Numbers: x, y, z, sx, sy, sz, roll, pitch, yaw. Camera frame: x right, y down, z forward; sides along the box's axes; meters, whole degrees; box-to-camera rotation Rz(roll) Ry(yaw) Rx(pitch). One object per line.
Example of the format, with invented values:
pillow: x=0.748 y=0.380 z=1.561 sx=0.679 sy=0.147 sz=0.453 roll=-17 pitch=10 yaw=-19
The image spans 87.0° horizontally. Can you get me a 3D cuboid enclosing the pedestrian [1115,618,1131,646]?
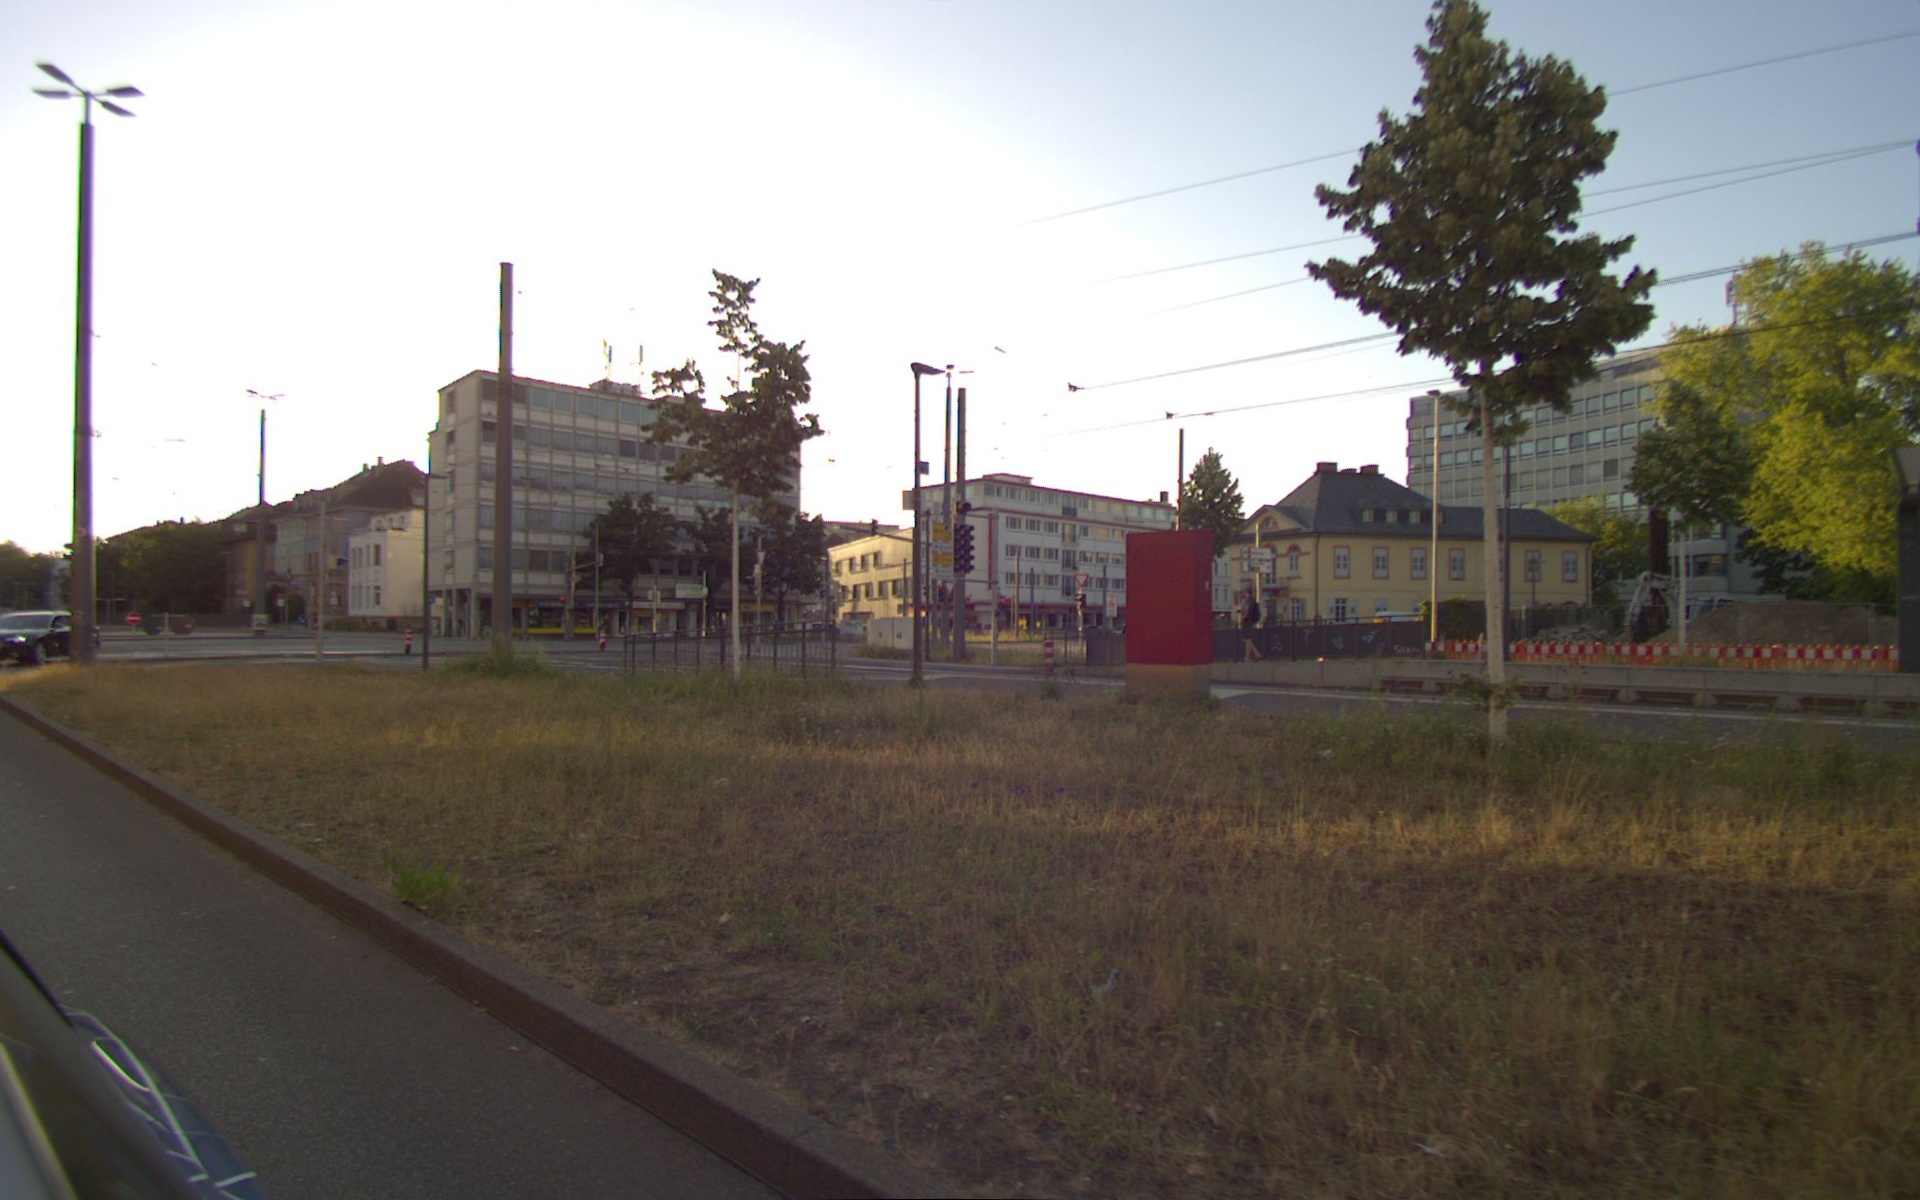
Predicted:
pedestrian: x=9.048 y=1.792 z=56.180 sx=0.645 sy=1.521 sz=0.591 roll=3 pitch=-3 yaw=-44

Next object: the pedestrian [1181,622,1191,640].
pedestrian: x=19.144 y=2.601 z=85.834 sx=0.645 sy=1.521 sz=0.591 roll=3 pitch=-3 yaw=-42

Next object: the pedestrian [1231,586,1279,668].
pedestrian: x=6.668 y=0.609 z=22.899 sx=0.817 sy=1.812 sz=0.686 roll=-1 pitch=-2 yaw=44

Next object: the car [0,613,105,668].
car: x=-25.777 y=1.099 z=27.829 sx=1.821 sy=1.418 sz=4.237 roll=1 pitch=-2 yaw=-16

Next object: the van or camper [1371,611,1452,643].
van or camper: x=33.038 y=1.959 z=74.100 sx=5.036 sy=2.319 sz=2.003 roll=0 pitch=-2 yaw=-6

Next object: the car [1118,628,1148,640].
car: x=18.638 y=3.622 z=108.992 sx=1.566 sy=1.286 sz=3.375 roll=-1 pitch=-2 yaw=42

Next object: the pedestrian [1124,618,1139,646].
pedestrian: x=9.431 y=1.754 z=55.640 sx=0.645 sy=1.521 sz=0.591 roll=3 pitch=-3 yaw=-44
